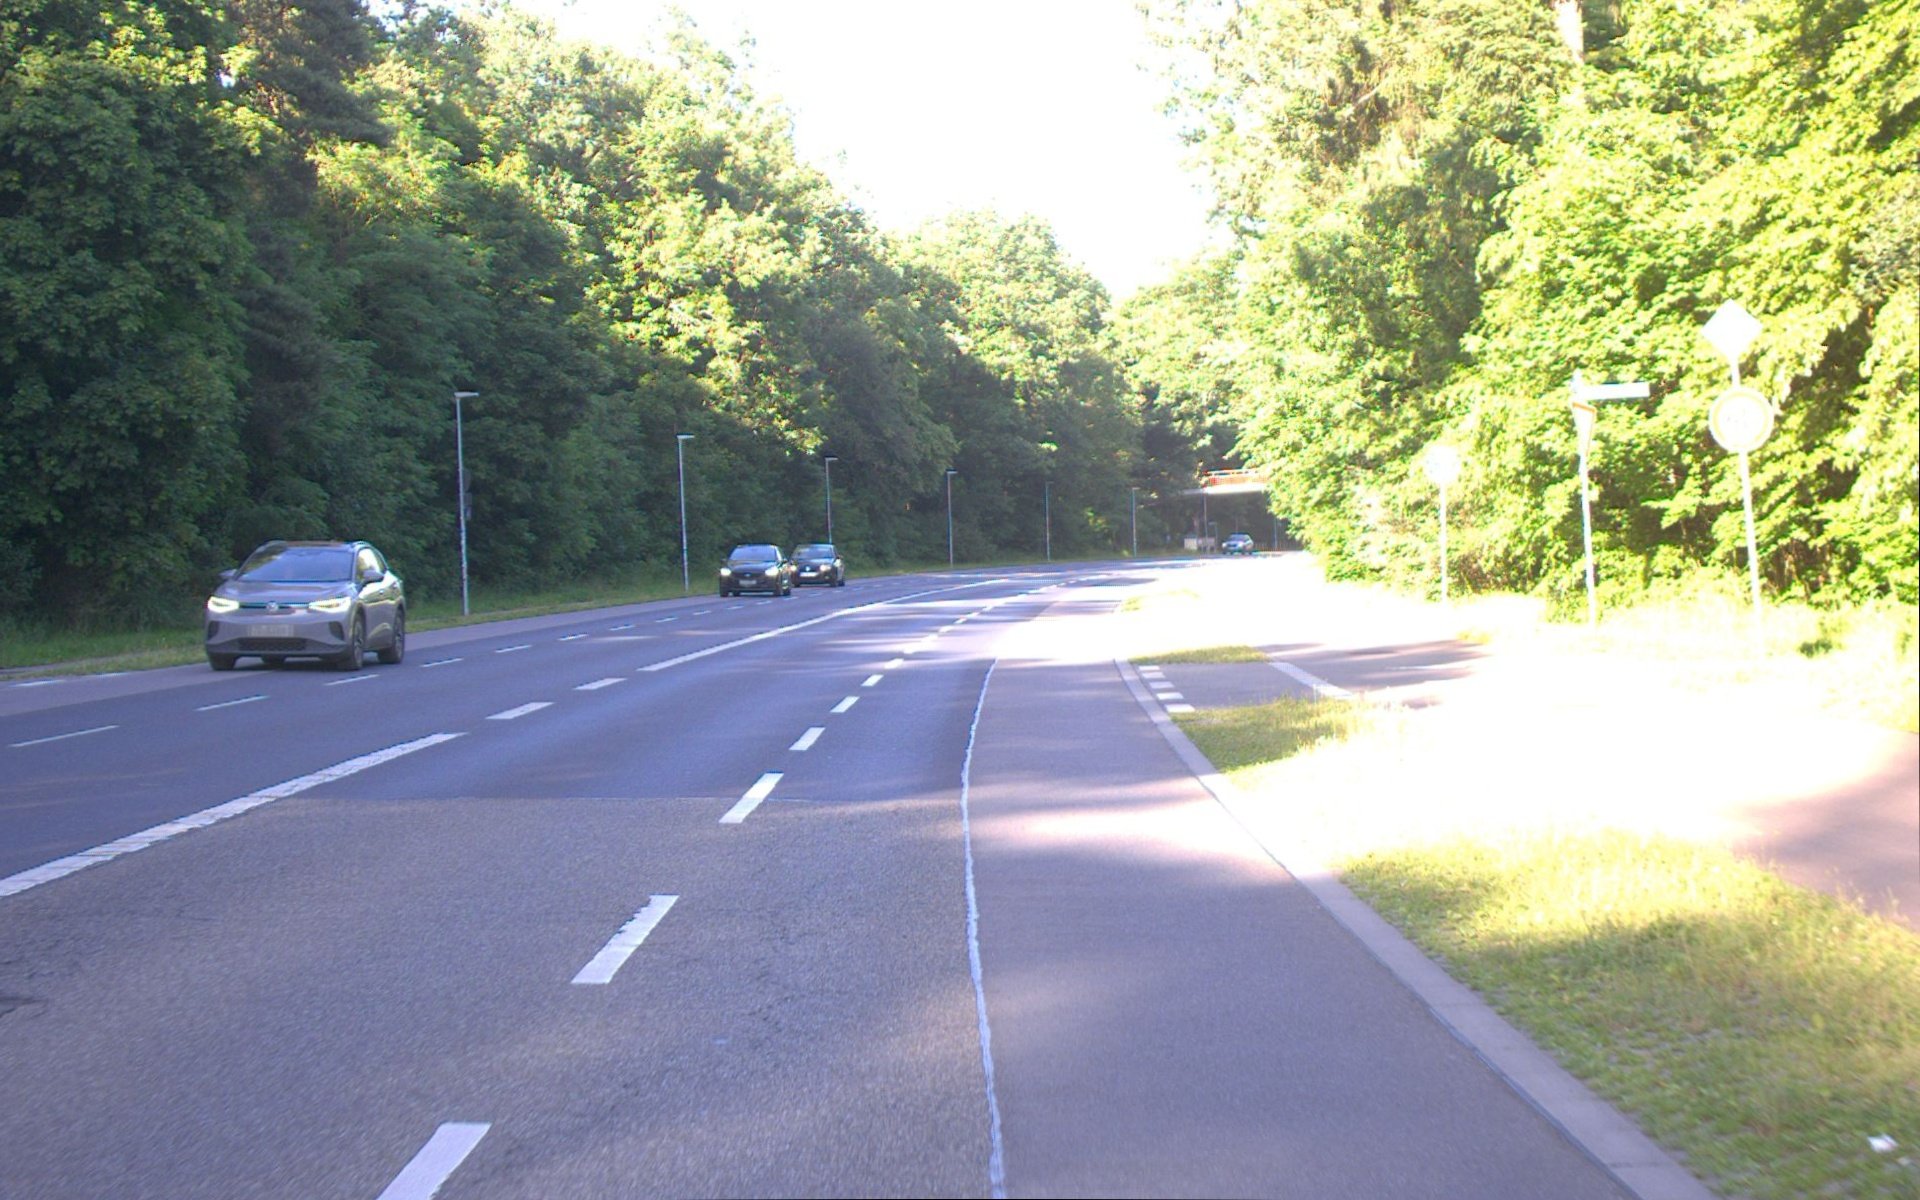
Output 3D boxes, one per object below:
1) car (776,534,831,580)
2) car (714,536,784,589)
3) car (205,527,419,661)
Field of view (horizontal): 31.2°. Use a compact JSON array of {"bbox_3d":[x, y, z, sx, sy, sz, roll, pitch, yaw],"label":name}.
[{"bbox_3d":[-5.286,-1.469,116.238,1.657,1.475,4.173,0,1,0],"label":"car"},{"bbox_3d":[-5.966,-1.085,97.575,1.738,1.452,3.999,1,1,0],"label":"car"},{"bbox_3d":[-8.271,-0.114,44.224,1.896,1.605,4.449,1,1,0],"label":"car"}]
